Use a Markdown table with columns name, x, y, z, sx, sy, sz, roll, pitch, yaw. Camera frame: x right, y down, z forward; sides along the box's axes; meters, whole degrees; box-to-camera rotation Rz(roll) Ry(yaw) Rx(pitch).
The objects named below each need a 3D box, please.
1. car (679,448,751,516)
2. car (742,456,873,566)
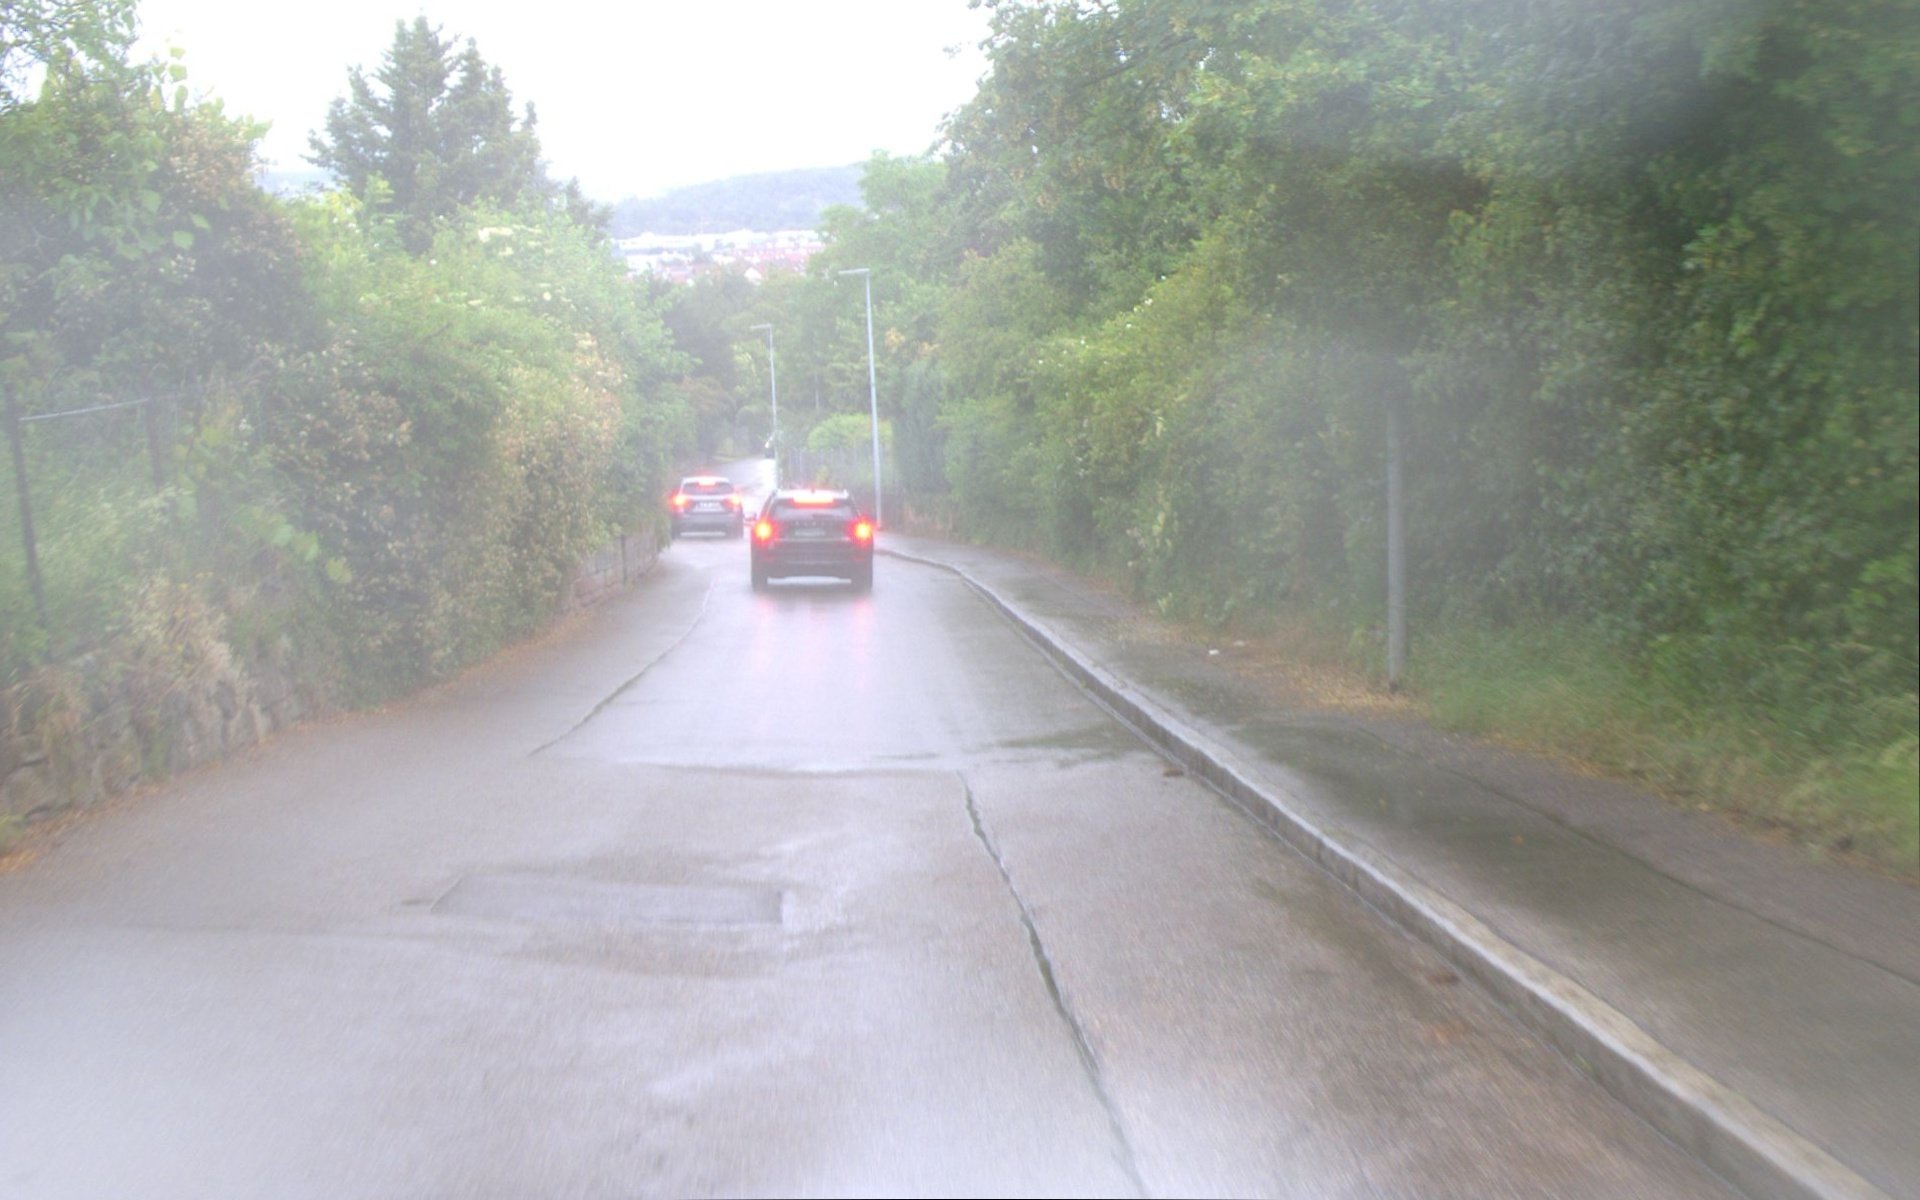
| name | x | y | z | sx | sy | sz | roll | pitch | yaw |
| --- | --- | --- | --- | --- | --- | --- | --- | --- | --- |
| car | -6.129 | -2.976 | 86.314 | 1.678 | 1.559 | 3.795 | 0 | 4 | -2 |
| car | -2.241 | -1.353 | 50.846 | 1.835 | 1.459 | 4.001 | 1 | 4 | -2 |
